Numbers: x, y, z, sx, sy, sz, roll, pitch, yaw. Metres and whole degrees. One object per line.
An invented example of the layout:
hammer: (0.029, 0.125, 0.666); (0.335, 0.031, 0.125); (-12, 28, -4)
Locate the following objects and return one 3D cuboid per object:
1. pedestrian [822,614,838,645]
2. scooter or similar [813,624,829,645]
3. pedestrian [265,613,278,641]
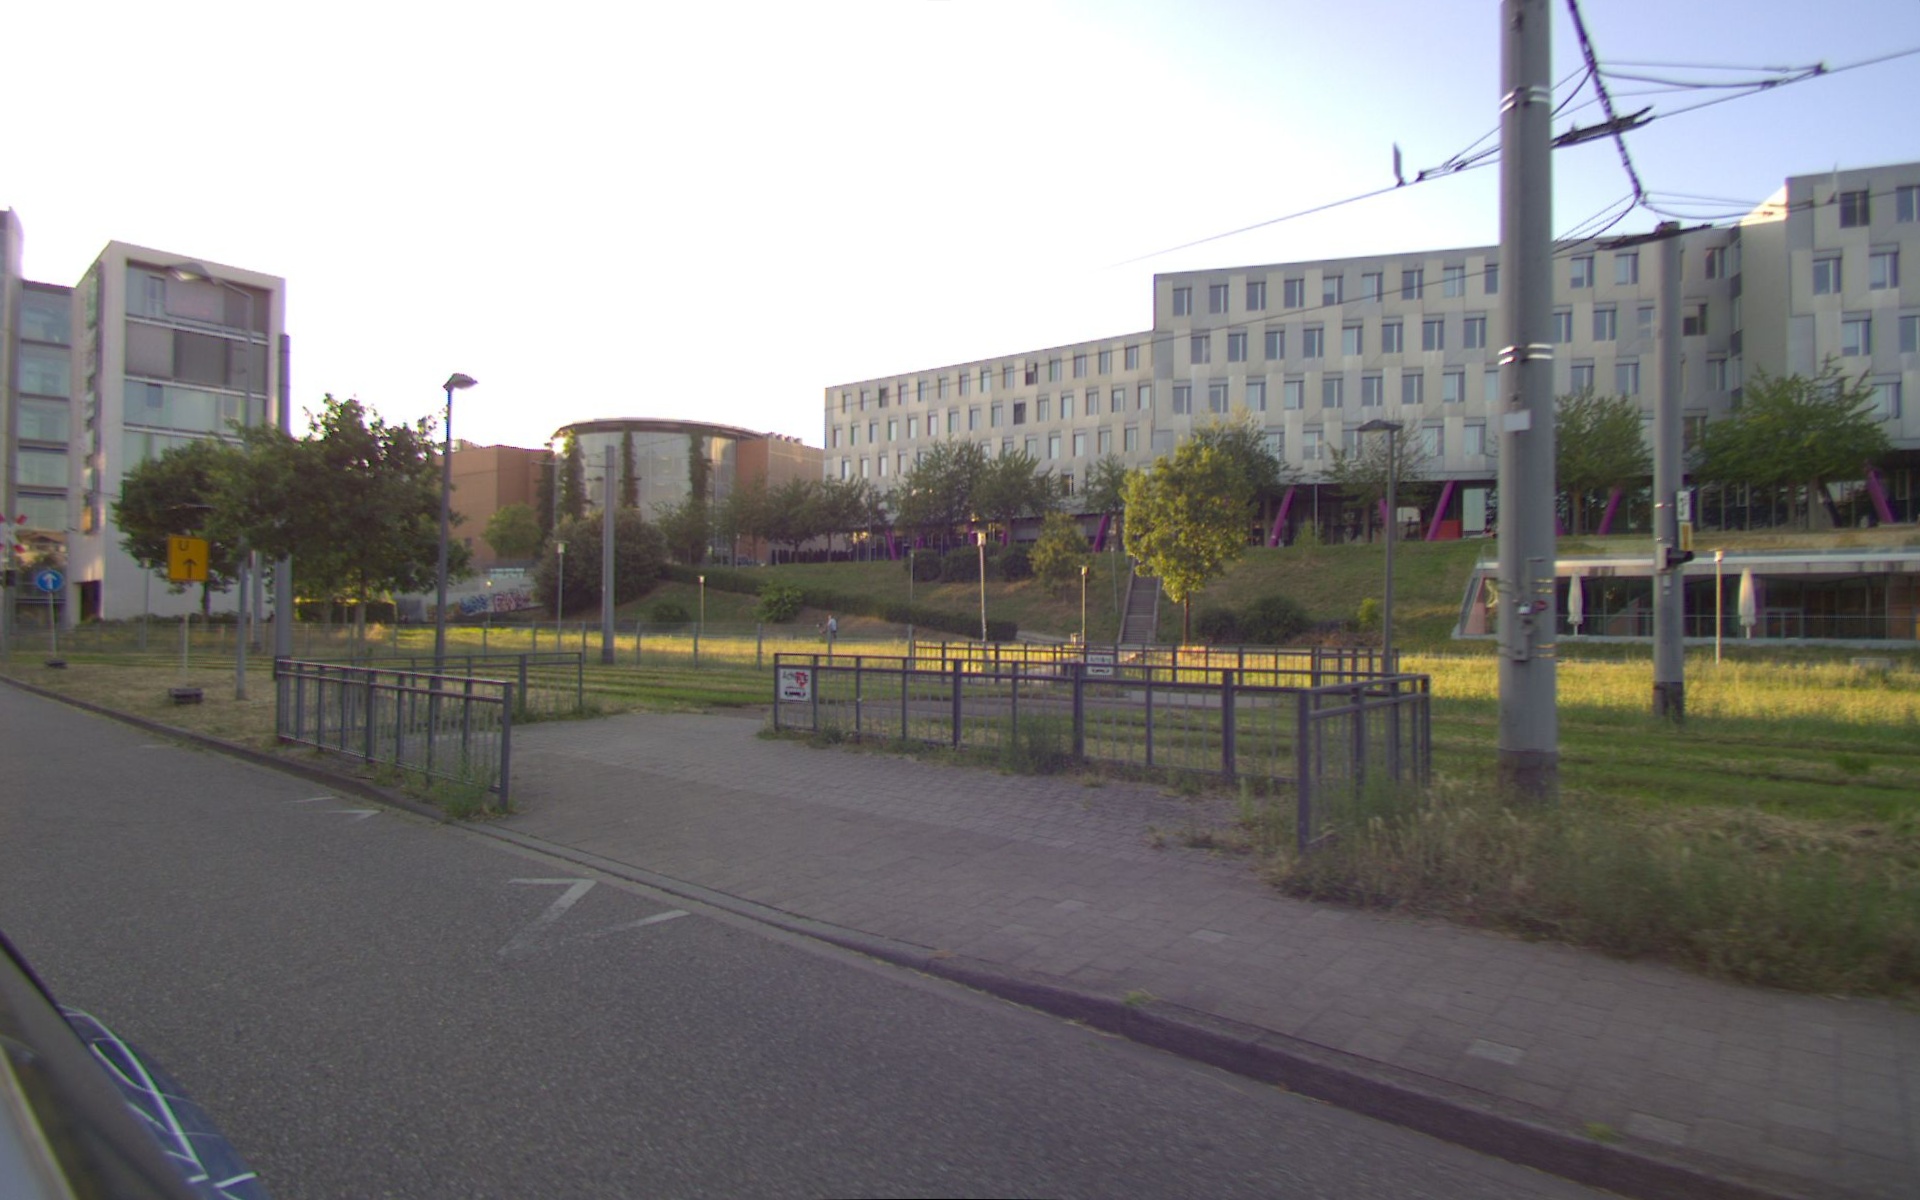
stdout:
pedestrian: (-8.088, 1.833, 62.977); (0.790, 1.850, 0.610); (-1, 0, 40)
scooter or similar: (-8.743, 2.164, 63.554); (0.790, 1.253, 0.610); (-1, 0, 40)
pedestrian: (-45.074, 1.762, 66.256); (0.480, 1.850, 0.446); (-1, 0, 20)
